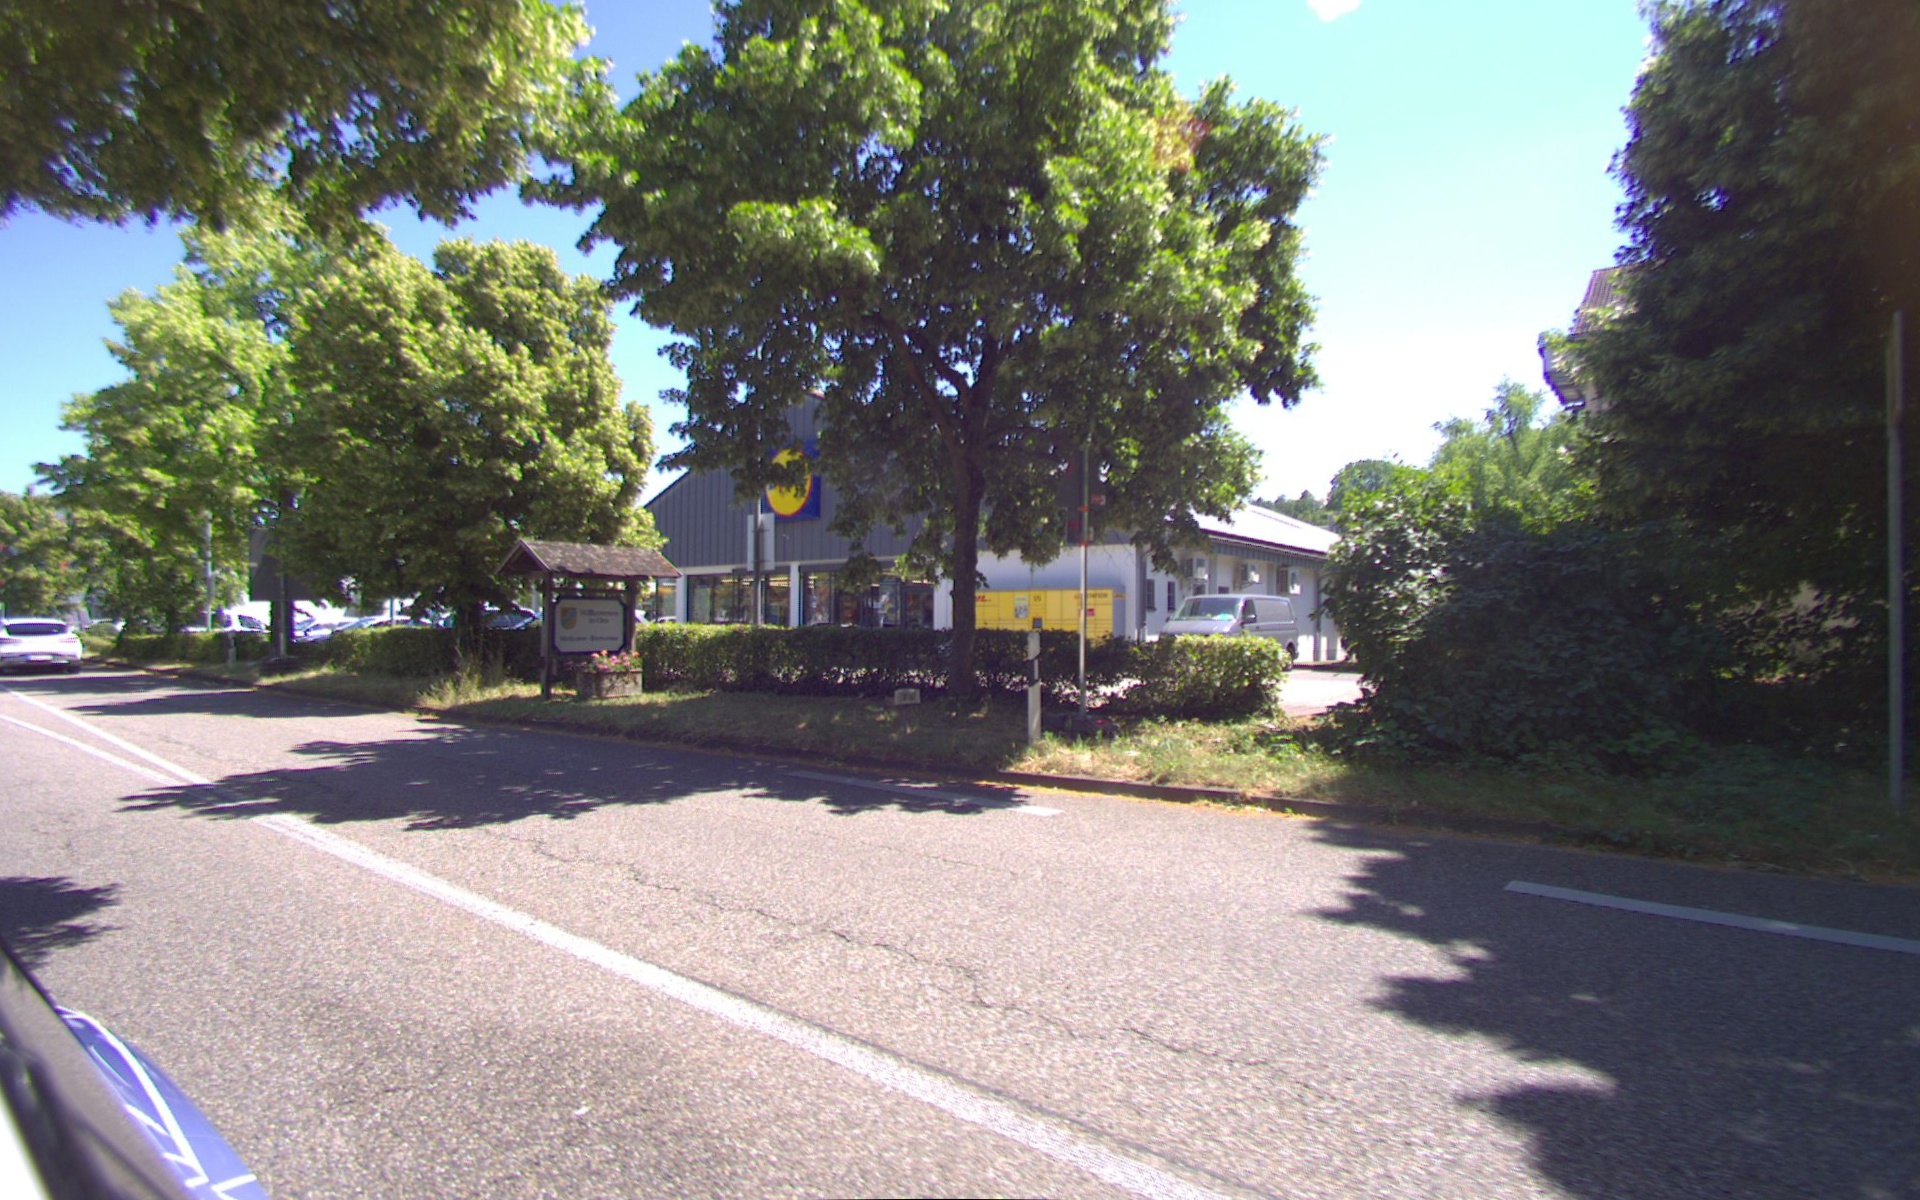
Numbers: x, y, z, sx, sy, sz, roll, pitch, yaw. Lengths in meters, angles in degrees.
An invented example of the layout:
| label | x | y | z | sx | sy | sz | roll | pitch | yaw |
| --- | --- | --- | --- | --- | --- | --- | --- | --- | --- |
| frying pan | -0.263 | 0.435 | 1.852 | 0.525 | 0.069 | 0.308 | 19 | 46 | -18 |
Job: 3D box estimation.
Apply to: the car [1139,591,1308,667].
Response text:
| label | x | y | z | sx | sy | sz | roll | pitch | yaw |
| --- | --- | --- | --- | --- | --- | --- | --- | --- | --- |
| car | 6.542 | 0.629 | 24.710 | 2.236 | 1.582 | 4.939 | -1 | 1 | 38 |

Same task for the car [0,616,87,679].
| label | x | y | z | sx | sy | sz | roll | pitch | yaw |
| --- | --- | --- | --- | --- | --- | --- | --- | --- | --- |
| car | -26.477 | 1.285 | 28.602 | 4.472 | 1.600 | 2.073 | -1 | 0 | 40 |

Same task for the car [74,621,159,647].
| label | x | y | z | sx | sy | sz | roll | pitch | yaw |
| --- | --- | --- | --- | --- | --- | --- | --- | --- | --- |
| car | -58.951 | 2.343 | 70.862 | 4.471 | 1.676 | 2.004 | 0 | -1 | -37 |

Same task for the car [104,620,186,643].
| label | x | y | z | sx | sy | sz | roll | pitch | yaw |
| --- | --- | --- | --- | --- | --- | --- | --- | --- | --- |
| car | -52.984 | 2.033 | 65.842 | 4.131 | 1.457 | 1.983 | 0 | -1 | -40 |

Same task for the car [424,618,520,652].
| label | x | y | z | sx | sy | sz | roll | pitch | yaw |
| --- | --- | --- | --- | --- | --- | --- | --- | --- | --- |
| car | -26.486 | 1.859 | 55.038 | 2.109 | 1.667 | 4.276 | 0 | 0 | 34 |

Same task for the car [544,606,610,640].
| label | x | y | z | sx | sy | sz | roll | pitch | yaw |
| --- | --- | --- | --- | --- | --- | --- | --- | --- | --- |
| car | -31.007 | 1.823 | 81.848 | 5.890 | 2.647 | 2.260 | -1 | 0 | 37 |

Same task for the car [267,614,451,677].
| label | x | y | z | sx | sy | sz | roll | pitch | yaw |
| --- | --- | --- | --- | --- | --- | --- | --- | --- | --- |
| car | -17.885 | 1.289 | 30.300 | 1.892 | 1.632 | 4.360 | -1 | 0 | 37 |

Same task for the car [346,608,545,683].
| label | x | y | z | sx | sy | sz | roll | pitch | yaw |
| --- | --- | --- | --- | --- | --- | --- | --- | --- | --- |
| car | -13.885 | 1.160 | 27.532 | 2.069 | 1.789 | 4.360 | -1 | 0 | 37 |

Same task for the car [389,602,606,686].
| label | x | y | z | sx | sy | sz | roll | pitch | yaw |
| --- | --- | --- | --- | --- | --- | --- | --- | --- | --- |
| car | -11.160 | 0.989 | 24.676 | 2.069 | 1.789 | 4.360 | -1 | 0 | 37 |

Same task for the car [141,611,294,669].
| label | x | y | z | sx | sy | sz | roll | pitch | yaw |
| --- | --- | --- | --- | --- | --- | --- | --- | --- | --- |
| car | -27.945 | 1.455 | 38.235 | 1.901 | 1.995 | 4.317 | 0 | 0 | 36 |

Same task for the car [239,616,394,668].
| label | x | y | z | sx | sy | sz | roll | pitch | yaw |
| --- | --- | --- | --- | --- | --- | --- | --- | --- | --- |
| car | -21.700 | 1.373 | 34.247 | 1.931 | 1.536 | 3.991 | -1 | 0 | 37 |
